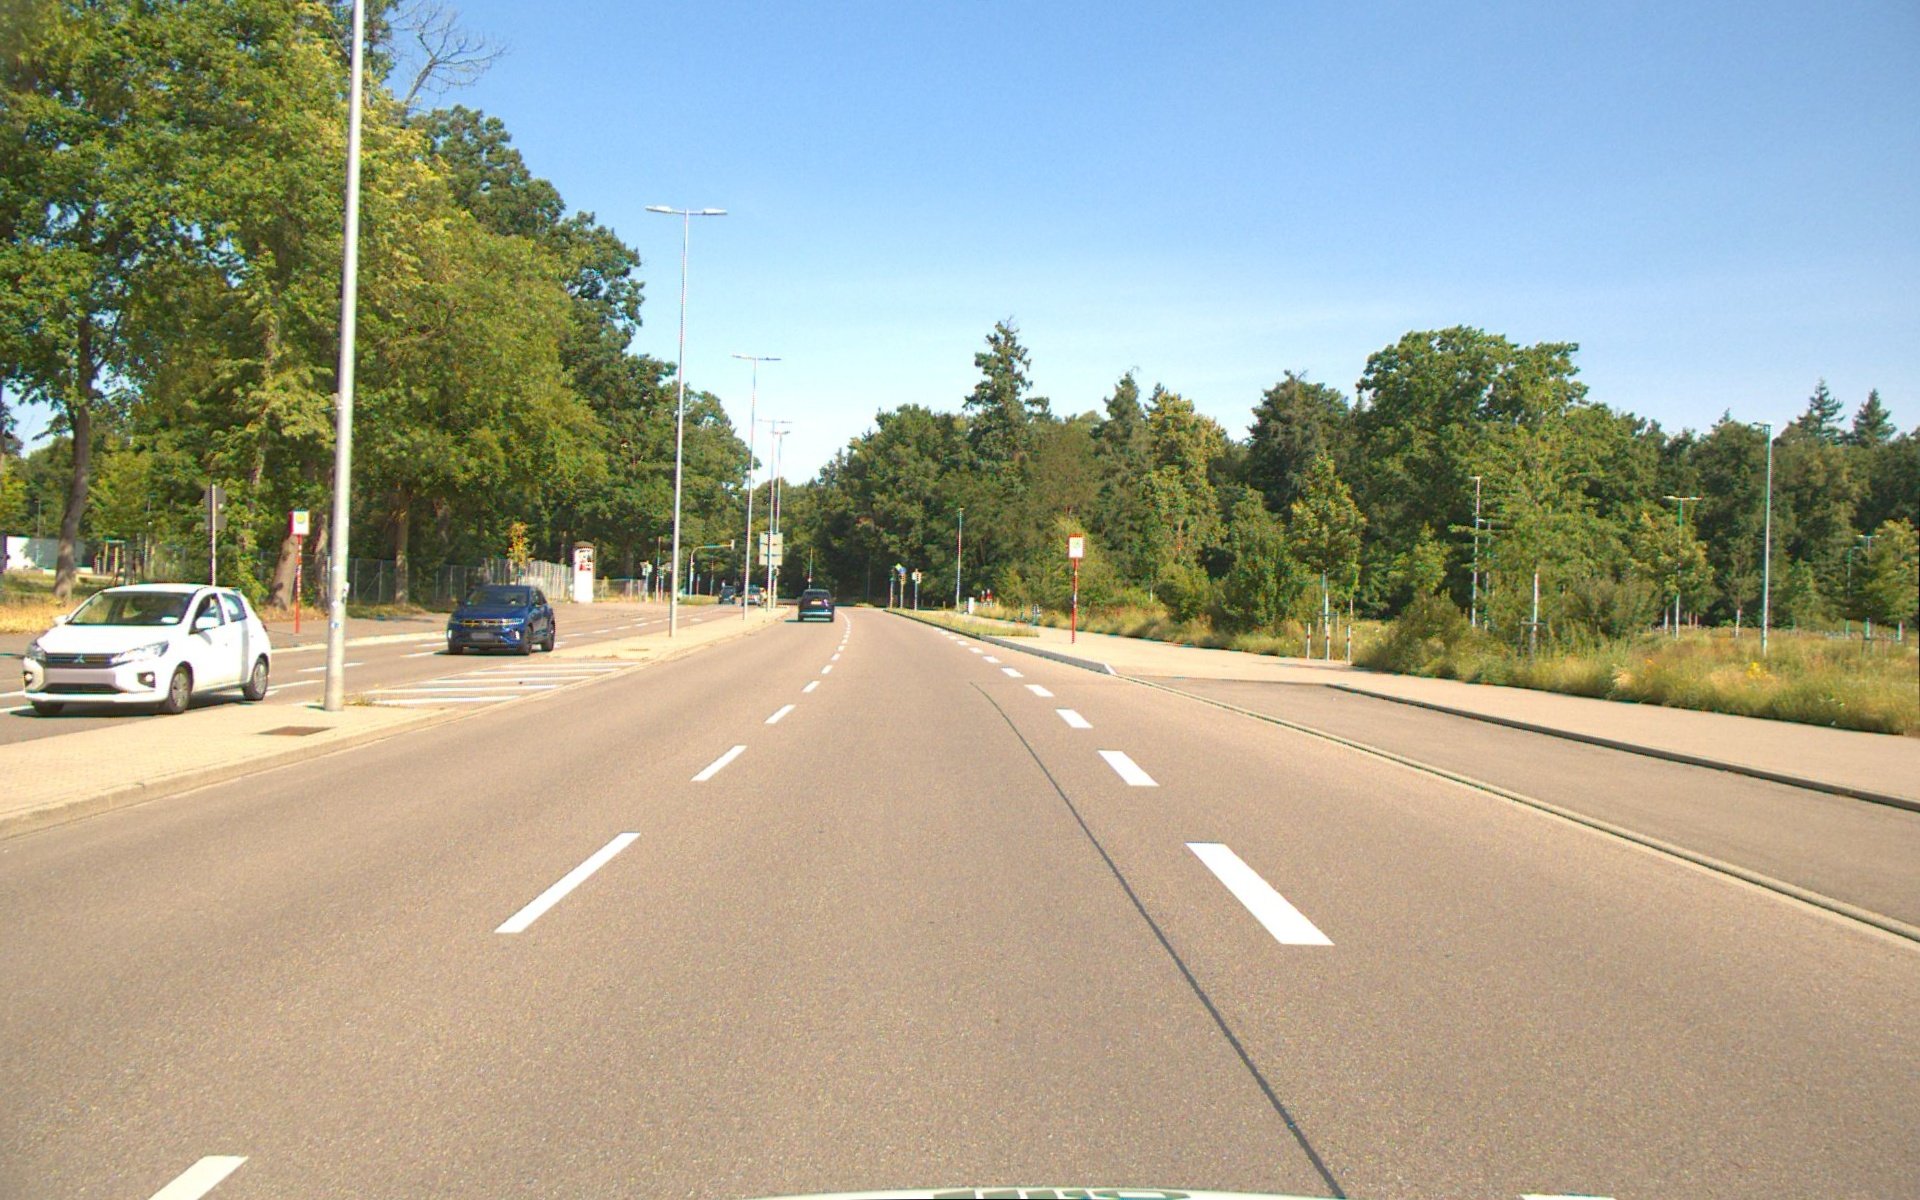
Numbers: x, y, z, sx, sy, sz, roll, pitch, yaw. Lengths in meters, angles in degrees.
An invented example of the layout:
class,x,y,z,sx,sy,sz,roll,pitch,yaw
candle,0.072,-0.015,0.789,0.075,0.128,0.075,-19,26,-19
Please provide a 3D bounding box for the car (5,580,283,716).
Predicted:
class,x,y,z,sx,sy,sz,roll,pitch,yaw
car,-9.799,0.522,20.184,1.590,1.492,3.799,0,0,-2

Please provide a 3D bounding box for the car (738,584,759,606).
class,x,y,z,sx,sy,sz,roll,pitch,yaw
car,-19.708,-0.494,154.278,1.805,1.966,4.624,1,0,-5

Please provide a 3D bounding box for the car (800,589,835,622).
class,x,y,z,sx,sy,sz,roll,pitch,yaw
car,-7.104,0.245,82.191,1.655,1.571,4.144,1,0,-5

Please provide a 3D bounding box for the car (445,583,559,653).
class,x,y,z,sx,sy,sz,roll,pitch,yaw
car,-10.454,0.389,38.043,1.718,1.512,3.945,0,0,-3

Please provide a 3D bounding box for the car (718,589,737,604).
class,x,y,z,sx,sy,sz,roll,pitch,yaw
car,-24.717,-0.350,175.982,1.759,1.504,3.995,2,0,-6
